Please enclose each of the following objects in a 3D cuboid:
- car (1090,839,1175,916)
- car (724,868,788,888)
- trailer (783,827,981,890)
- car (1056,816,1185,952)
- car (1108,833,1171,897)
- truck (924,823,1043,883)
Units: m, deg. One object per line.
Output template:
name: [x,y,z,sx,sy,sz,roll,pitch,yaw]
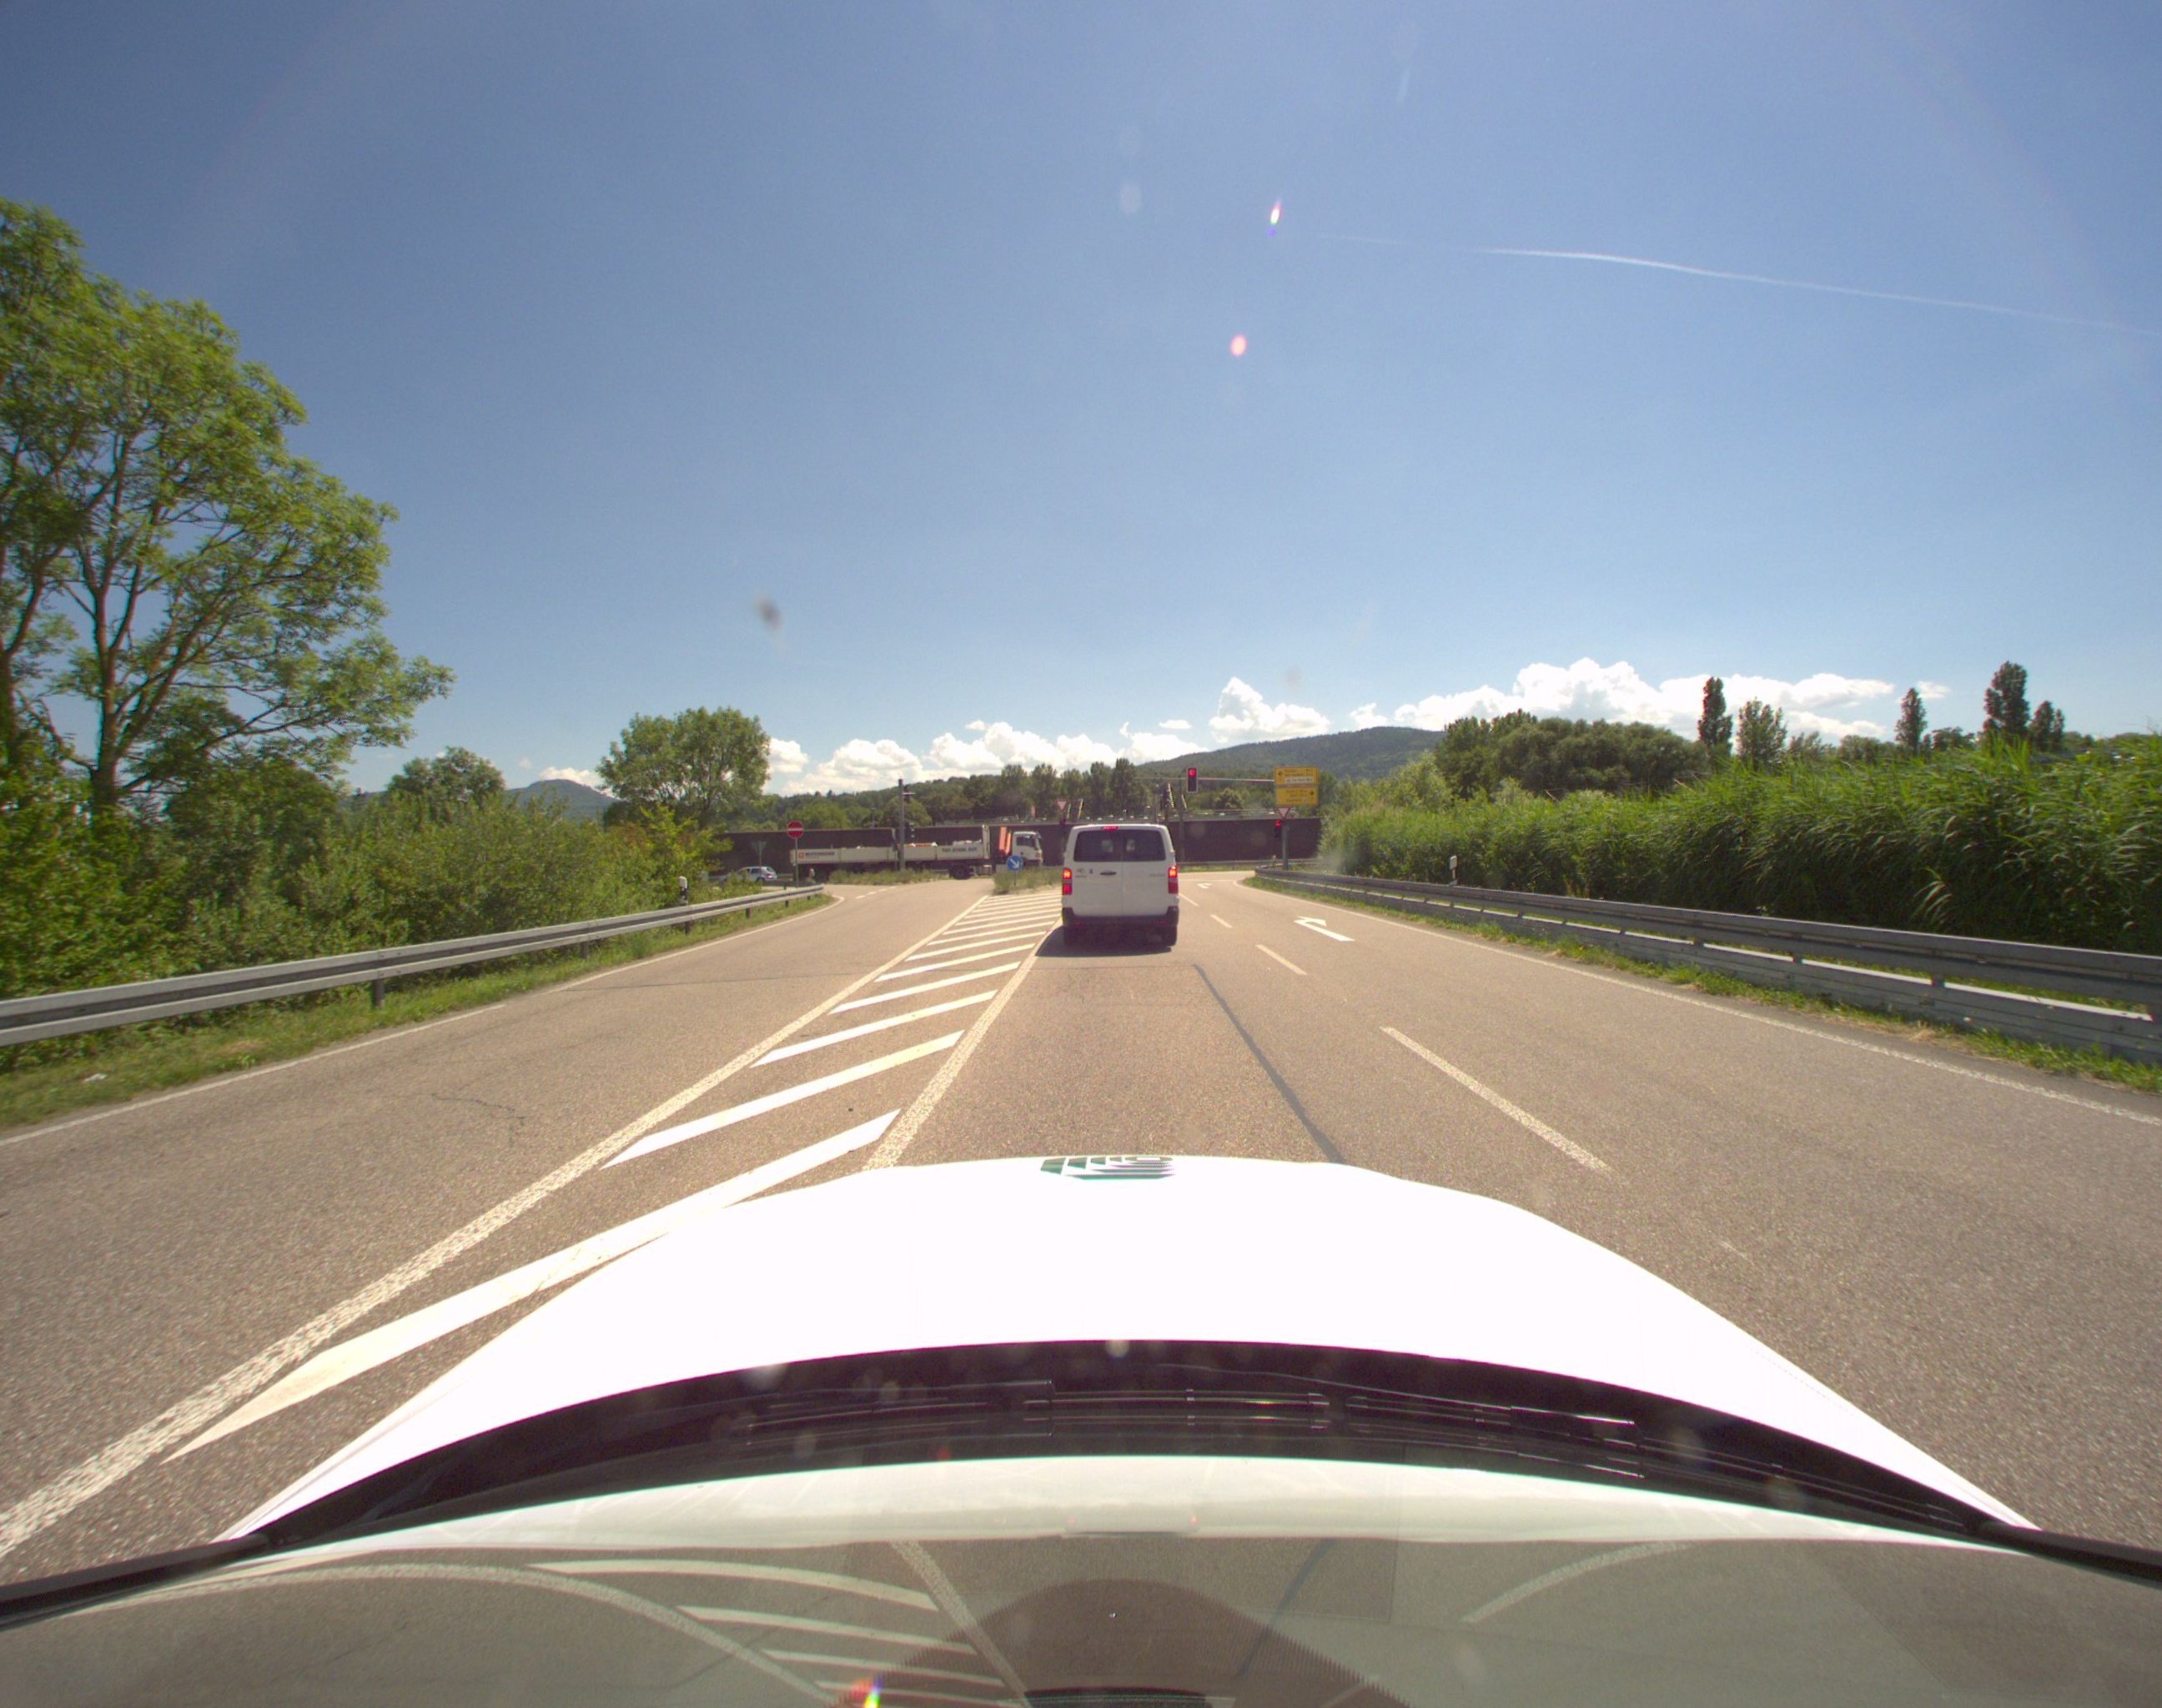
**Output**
car: [1.353,0.583,22.069,1.986,1.812,4.002,-3,0,2]
car: [-24.269,1.770,60.883,3.972,1.349,1.849,0,2,1]
trailer: [-12.998,0.270,53.693,12.284,3.504,2.232,-3,1,-1]
car: [0.652,0.447,13.982,1.863,1.964,4.002,-1,0,2]
car: [2.032,0.374,29.119,1.986,2.013,4.002,-3,0,2]
truck: [-6.352,-0.070,53.751,7.380,3.504,2.233,-3,1,0]
